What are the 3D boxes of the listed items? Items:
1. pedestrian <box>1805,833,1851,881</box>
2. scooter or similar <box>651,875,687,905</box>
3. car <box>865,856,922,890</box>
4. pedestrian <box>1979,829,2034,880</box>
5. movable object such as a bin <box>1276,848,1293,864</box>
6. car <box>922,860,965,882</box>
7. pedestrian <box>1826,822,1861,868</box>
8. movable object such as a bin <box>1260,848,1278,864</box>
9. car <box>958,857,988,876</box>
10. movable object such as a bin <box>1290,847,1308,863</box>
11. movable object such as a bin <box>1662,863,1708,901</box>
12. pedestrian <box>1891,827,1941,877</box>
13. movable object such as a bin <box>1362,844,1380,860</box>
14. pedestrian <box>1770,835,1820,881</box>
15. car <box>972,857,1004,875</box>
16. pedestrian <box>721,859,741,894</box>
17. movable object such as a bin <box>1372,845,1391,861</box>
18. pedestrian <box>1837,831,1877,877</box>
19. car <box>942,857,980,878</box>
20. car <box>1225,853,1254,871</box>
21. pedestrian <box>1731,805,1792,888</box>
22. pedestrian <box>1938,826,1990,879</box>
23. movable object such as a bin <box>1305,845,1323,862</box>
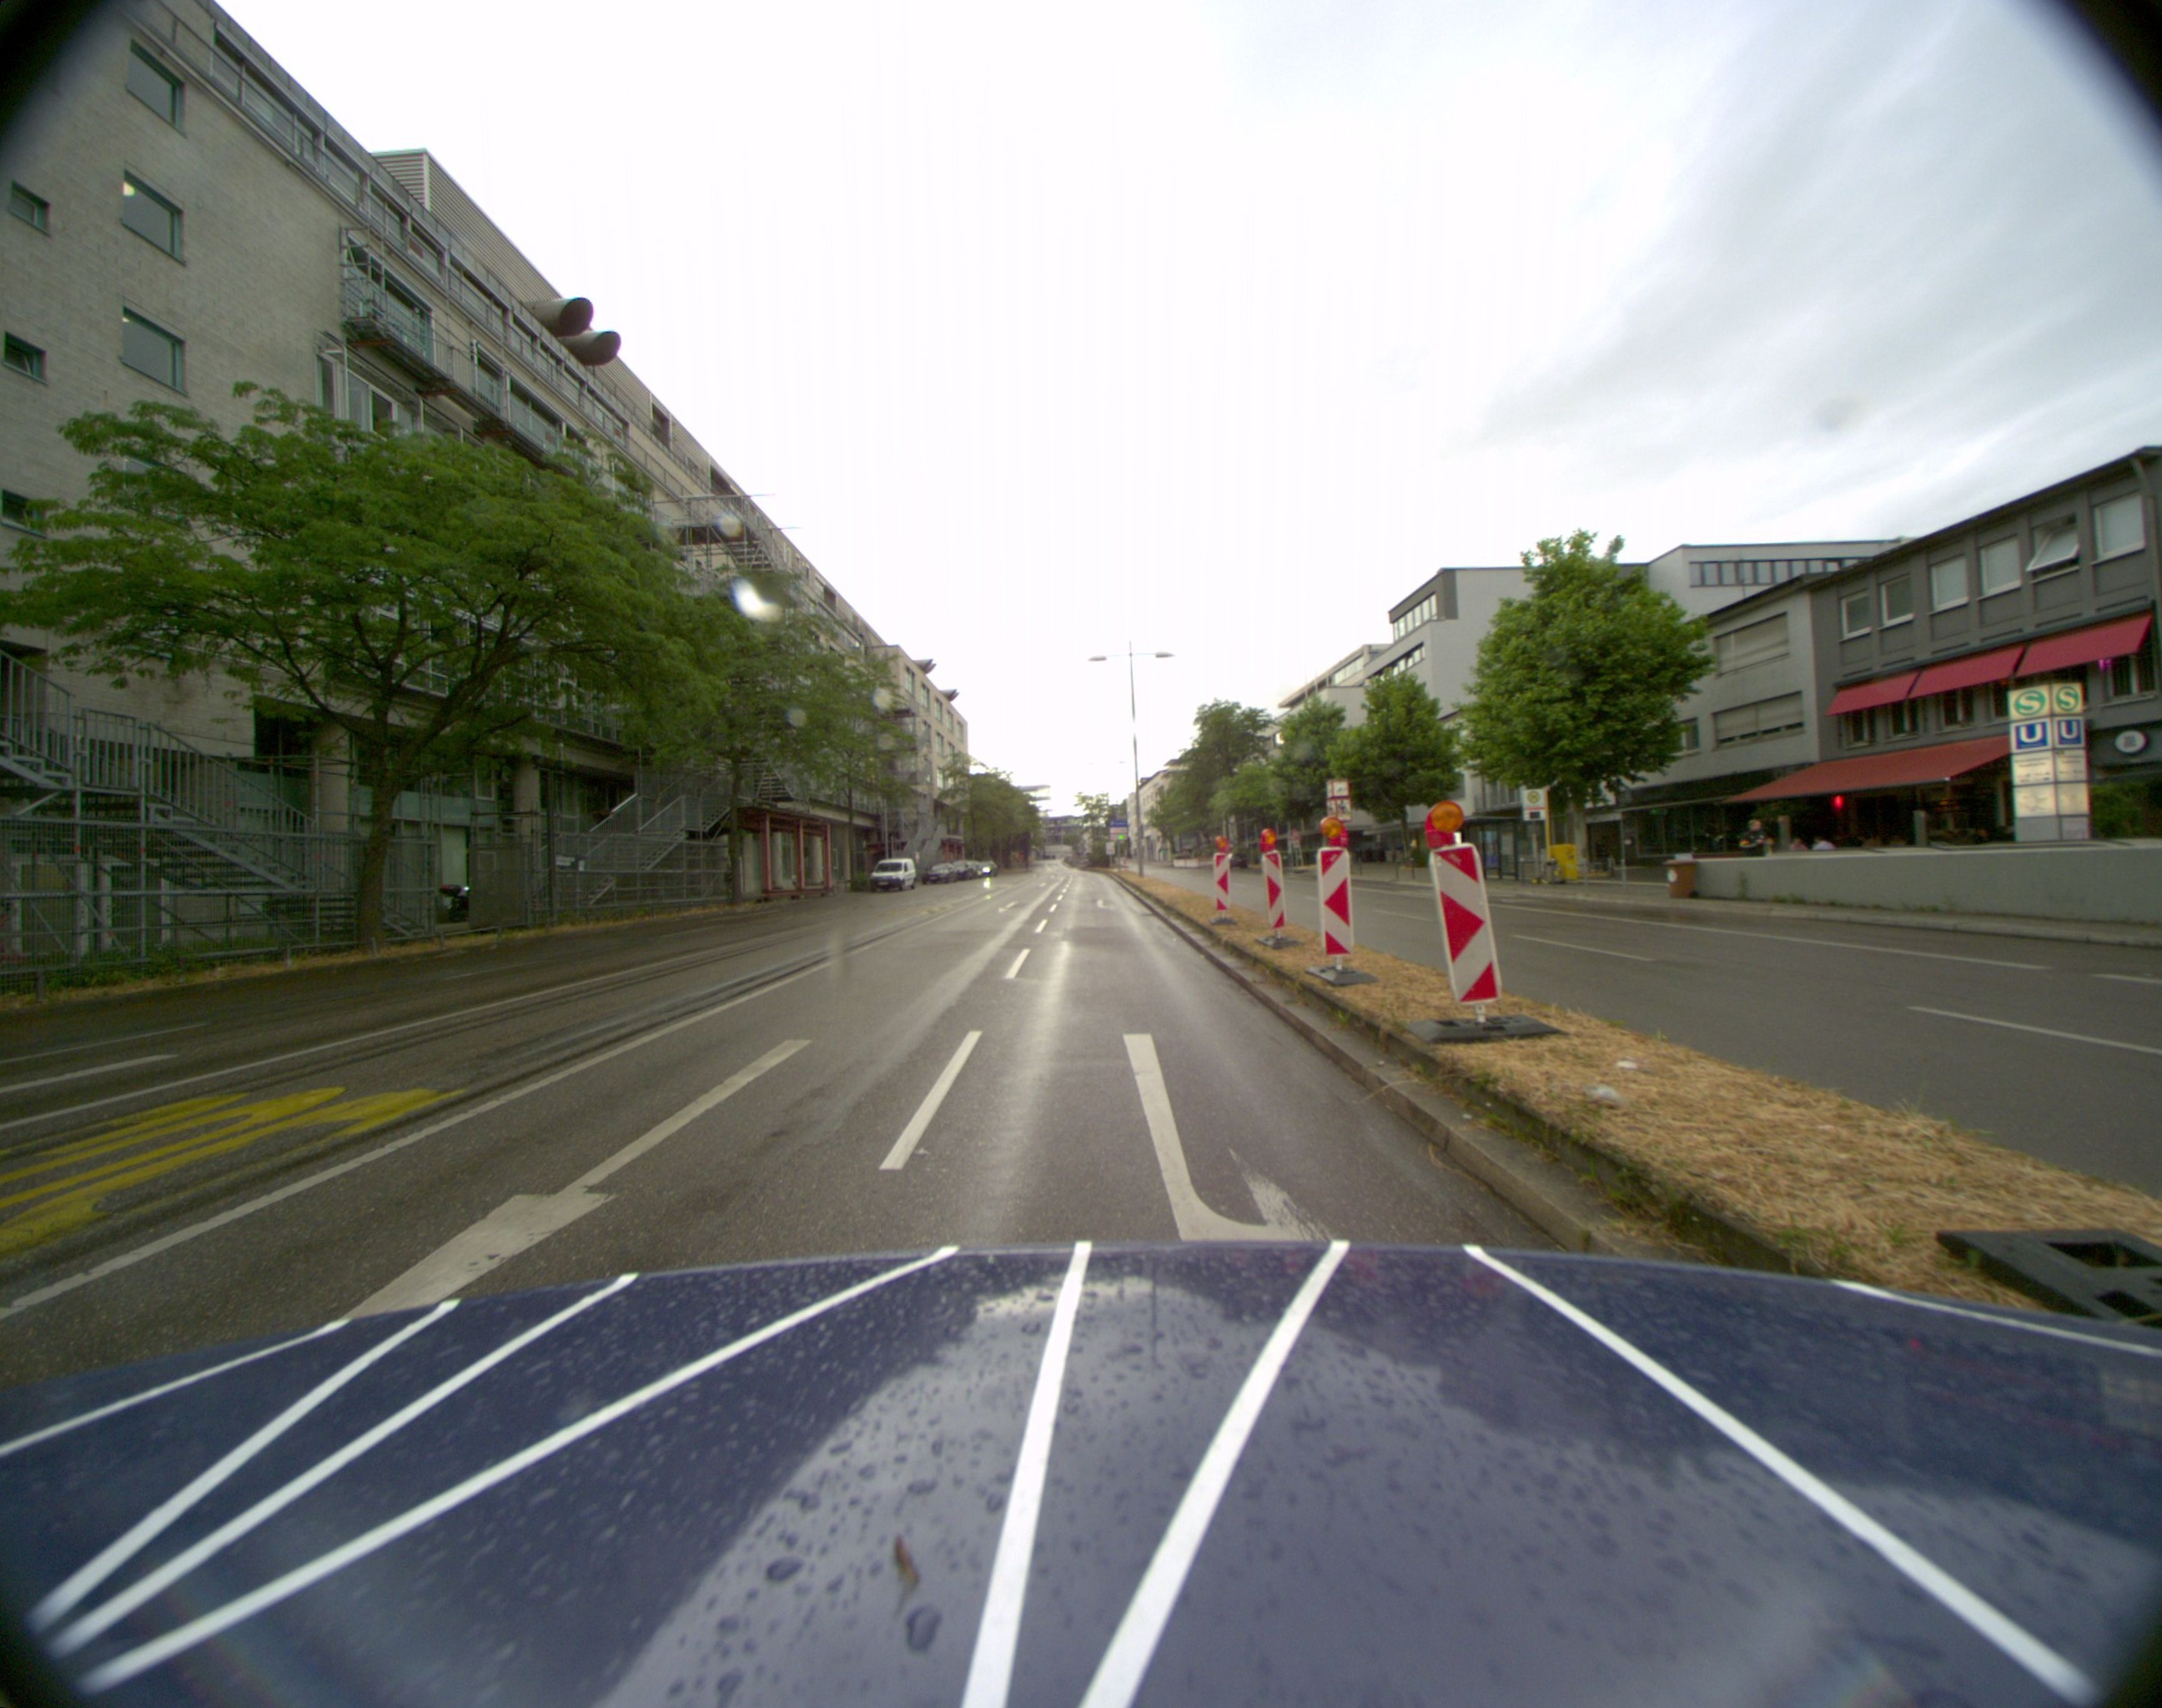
[{"bbox_3d":[23.178,0.104,23.573,0.691,1.442,0.707,-2,0,-4],"label":"pedestrian"},{"bbox_3d":[-17.185,1.497,31.738,0.633,1.155,1.547,-2,0,1],"label":"scooter or similar"},{"bbox_3d":[-10.455,1.030,42.709,1.998,1.739,4.527,-2,0,1],"label":"car"},{"bbox_3d":[24.917,0.011,20.468,0.635,1.336,0.691,-2,0,-6],"label":"pedestrian"},{"bbox_3d":[18.952,0.176,70.812,1.281,1.418,1.088,-2,0,1],"label":"movable object such as a bin"},{"bbox_3d":[-9.784,1.199,54.454,1.873,1.429,4.922,-2,0,3],"label":"car"},{"bbox_3d":[26.091,-0.304,26.018,0.598,1.561,0.604,-2,1,-9],"label":"pedestrian"},{"bbox_3d":[17.512,0.211,70.810,1.362,1.418,1.088,-2,0,1],"label":"movable object such as a bin"},{"bbox_3d":[-9.451,1.078,66.622,1.866,1.591,4.593,-2,0,1],"label":"car"},{"bbox_3d":[20.304,0.056,70.838,1.281,1.418,1.088,-2,0,1],"label":"movable object such as a bin"},{"bbox_3d":[14.514,0.660,18.259,0.533,0.892,0.682,0,0,-9],"label":"movable object such as a bin"},{"bbox_3d":[24.945,-0.046,22.705,0.728,1.442,0.691,-2,0,-6],"label":"pedestrian"},{"bbox_3d":[26.832,-0.184,70.309,1.088,1.427,1.281,-2,0,-9],"label":"movable object such as a bin"},{"bbox_3d":[23.107,0.131,24.607,0.691,1.442,0.914,-2,0,-4],"label":"pedestrian"},{"bbox_3d":[-8.858,1.075,72.541,1.998,1.591,5.291,-2,0,4],"label":"car"},{"bbox_3d":[-18.104,1.161,39.297,0.677,1.732,0.653,-1,1,3],"label":"pedestrian"},{"bbox_3d":[27.237,-0.108,68.930,1.088,1.427,1.281,-2,0,-9],"label":"movable object such as a bin"},{"bbox_3d":[24.903,-0.012,24.394,0.691,1.442,0.547,-2,0,-4],"label":"pedestrian"},{"bbox_3d":[-9.595,1.055,61.247,1.998,1.636,4.863,-2,0,3],"label":"car"},{"bbox_3d":[15.468,0.767,74.228,1.783,1.626,4.024,-2,-1,-2],"label":"car"},{"bbox_3d":[15.854,-0.171,17.717,0.691,1.874,0.758,-2,0,-4],"label":"pedestrian"},{"bbox_3d":[24.771,-0.039,21.328,0.635,1.442,0.691,-2,0,-6],"label":"pedestrian"},{"bbox_3d":[21.698,-0.058,70.829,1.281,1.479,1.088,-2,0,1],"label":"movable object such as a bin"}]
